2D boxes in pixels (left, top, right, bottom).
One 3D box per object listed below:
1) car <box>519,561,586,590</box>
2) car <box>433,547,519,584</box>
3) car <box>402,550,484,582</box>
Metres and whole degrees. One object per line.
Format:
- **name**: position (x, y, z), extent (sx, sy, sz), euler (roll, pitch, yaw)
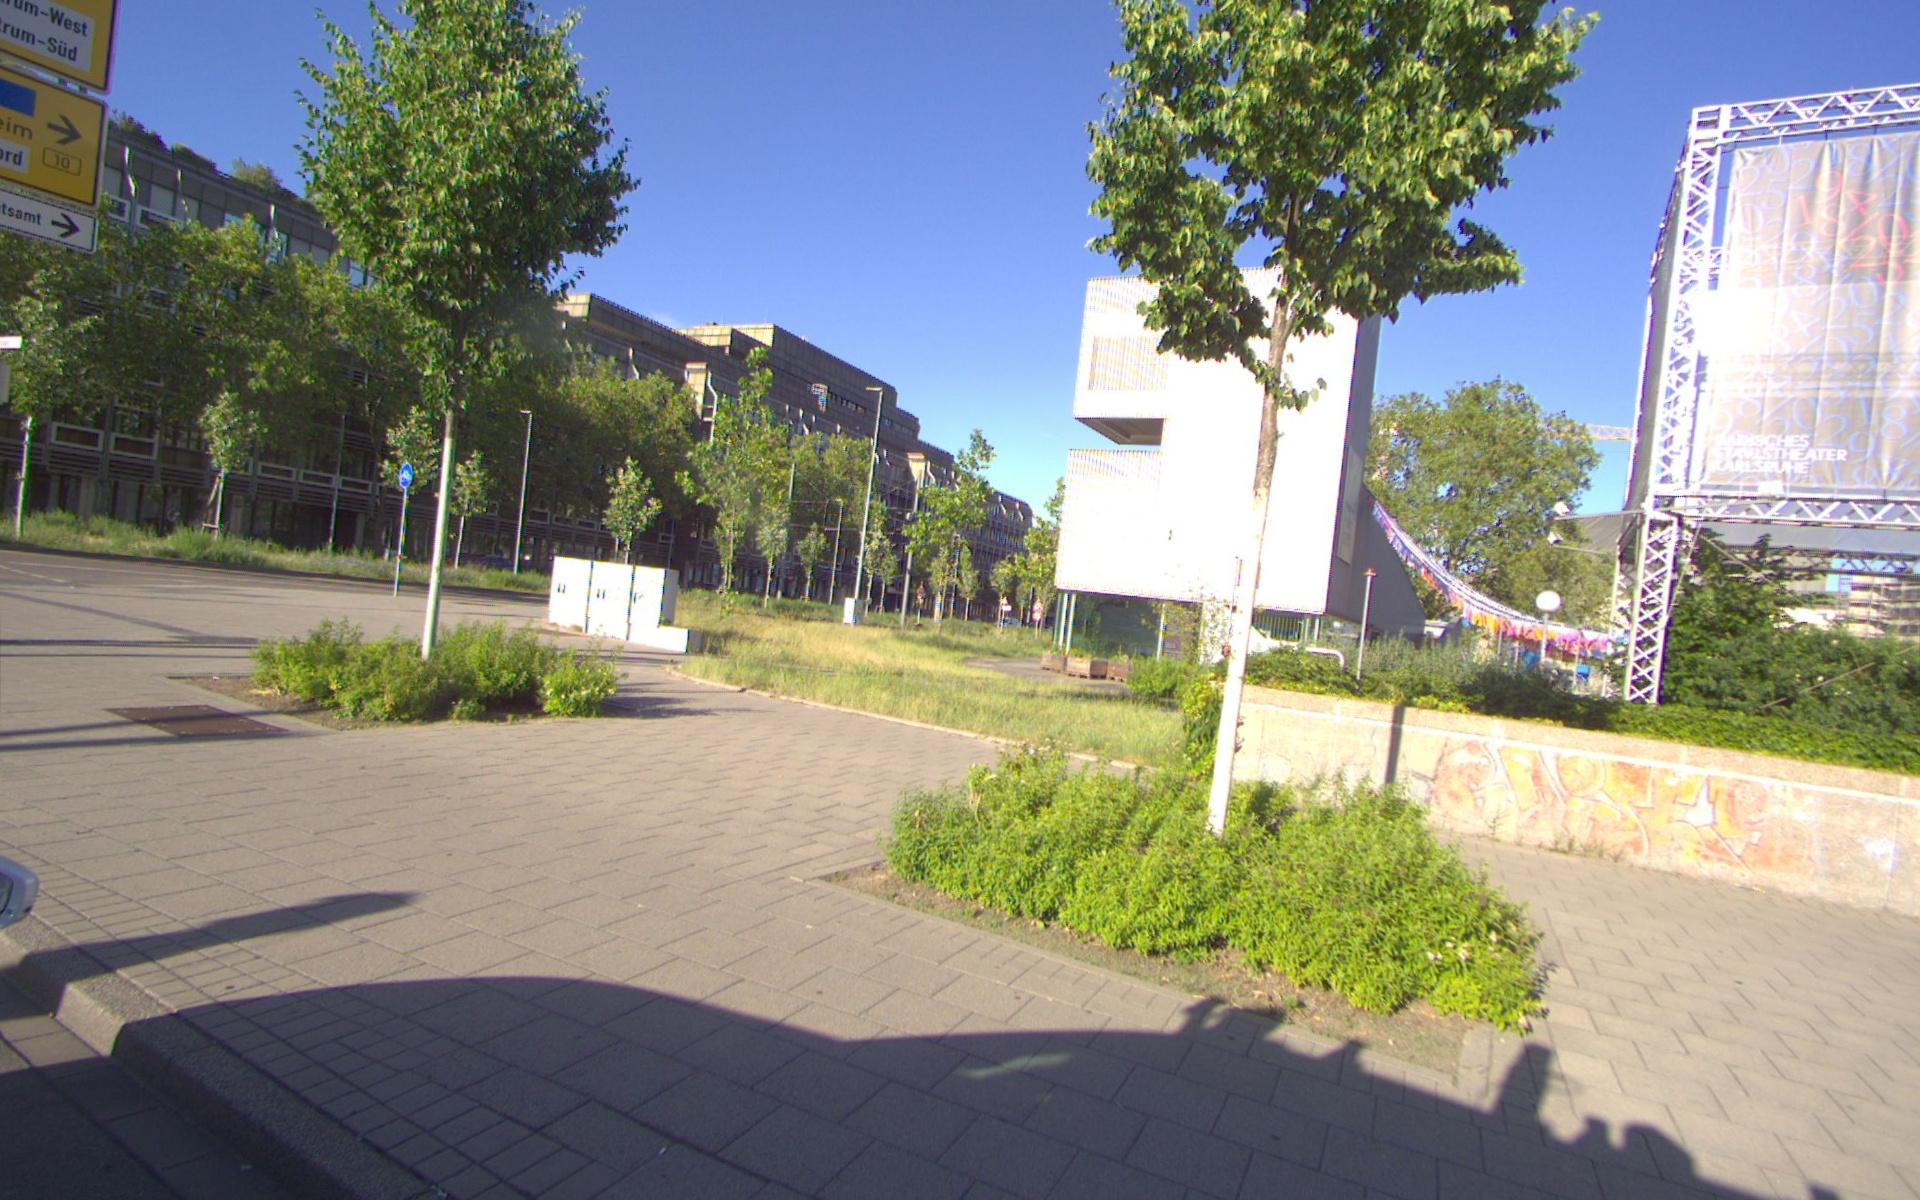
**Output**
- **car**: position (-28.999, -1.732, 71.672), extent (1.966, 1.539, 3.995), euler (7, 0, 29)
- **car**: position (-31.779, -2.232, 66.165), extent (1.964, 1.700, 4.868), euler (8, -1, 23)
- **car**: position (-30.137, -1.971, 58.772), extent (1.815, 1.504, 3.874), euler (3, -2, 29)
